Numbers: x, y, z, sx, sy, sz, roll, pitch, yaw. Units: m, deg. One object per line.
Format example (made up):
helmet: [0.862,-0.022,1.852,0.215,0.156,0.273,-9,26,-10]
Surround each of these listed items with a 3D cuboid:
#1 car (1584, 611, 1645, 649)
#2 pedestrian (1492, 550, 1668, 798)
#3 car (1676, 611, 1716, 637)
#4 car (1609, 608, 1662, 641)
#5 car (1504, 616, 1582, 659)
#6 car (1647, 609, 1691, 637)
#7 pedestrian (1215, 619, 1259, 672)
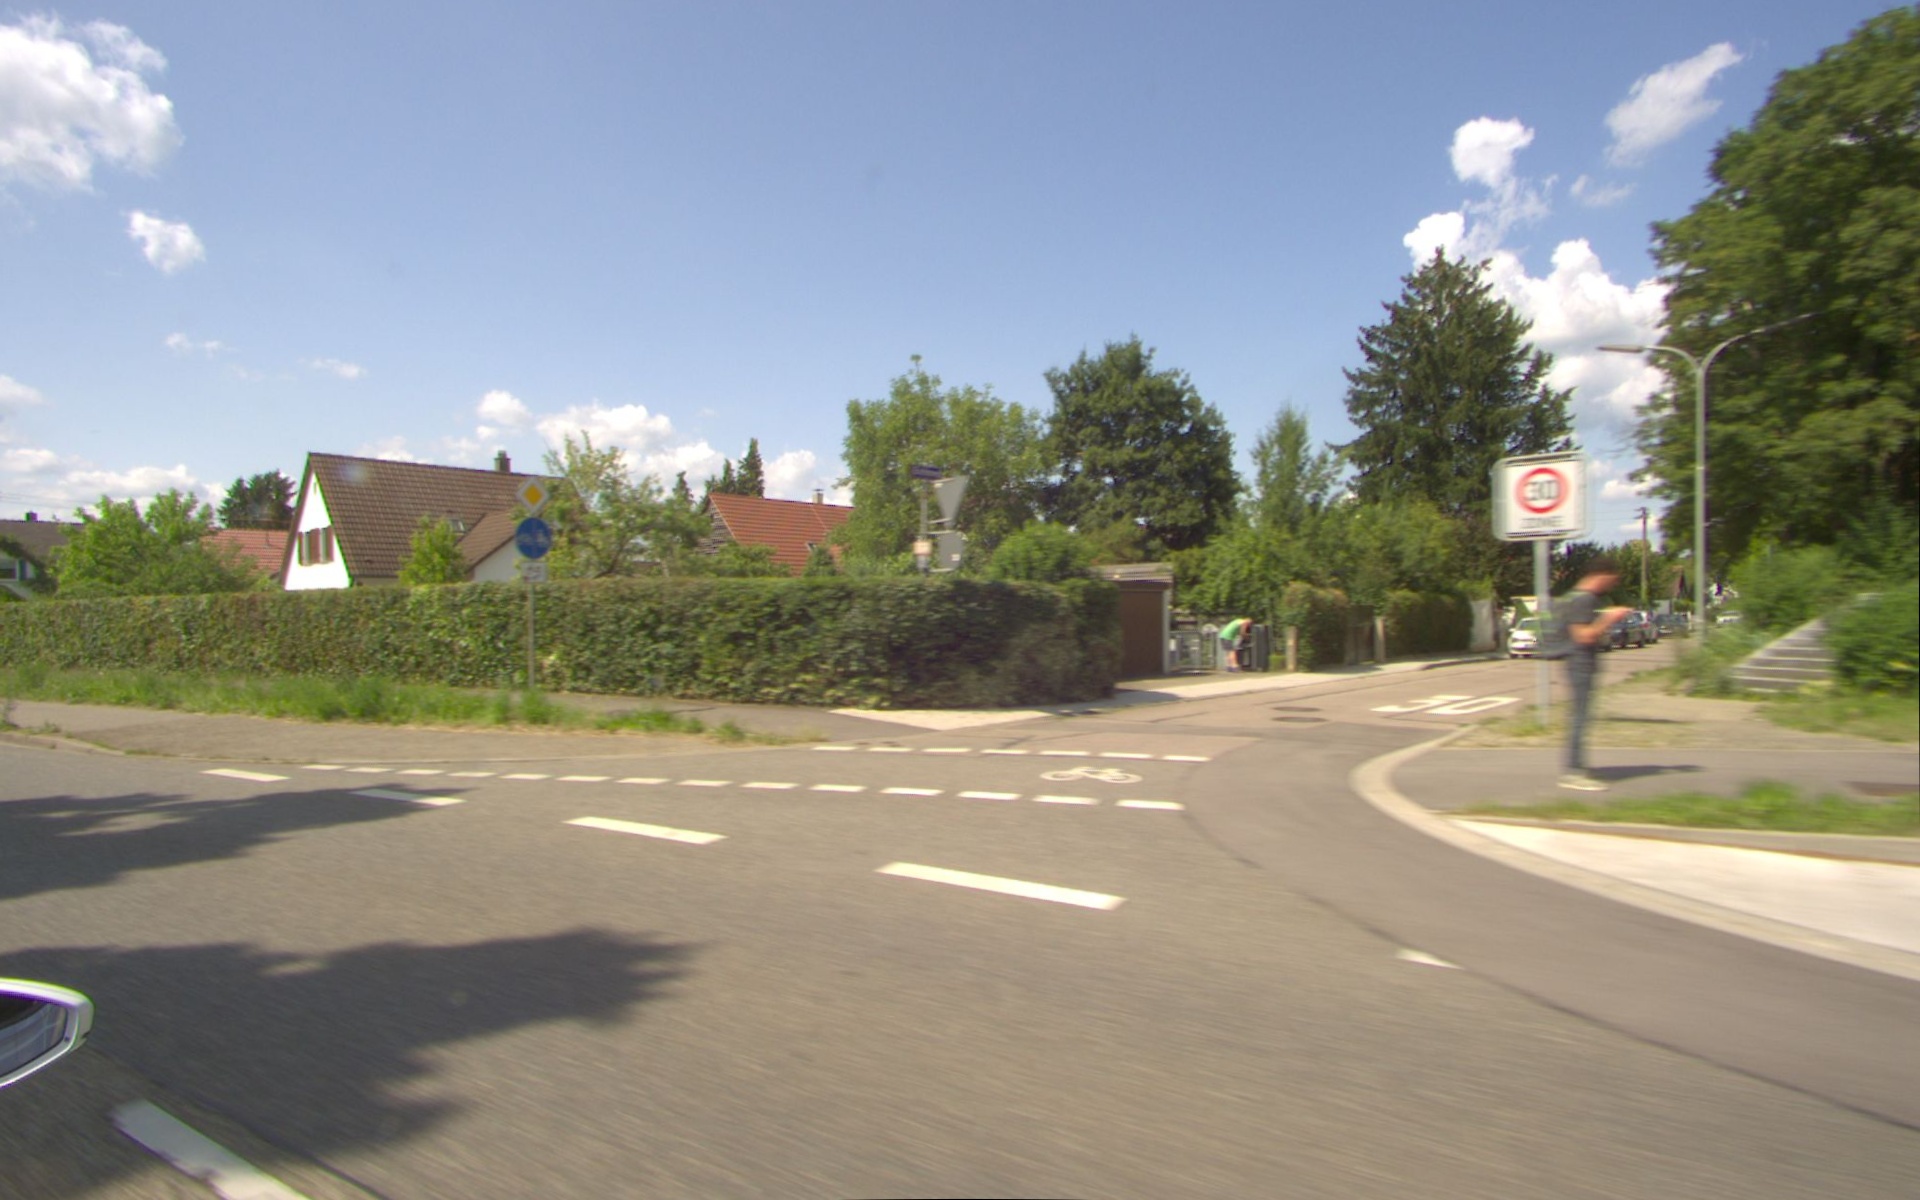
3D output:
car: [28.335,1.268,43.316,1.663,1.573,3.634,-1,-1,42]
pedestrian: [5.011,0.572,8.126,1.073,1.847,0.952,-3,0,33]
car: [46.287,1.498,62.924,1.663,1.573,3.634,-1,-1,42]
car: [33.088,1.197,49.048,1.663,1.573,3.634,-1,-1,42]
car: [20.418,1.281,35.026,1.663,1.438,3.634,-1,-1,42]
car: [41.162,1.311,58.070,1.663,1.573,3.634,-1,-1,42]
pedestrian: [6.887,1.127,24.941,0.909,1.317,0.636,0,0,-3]
